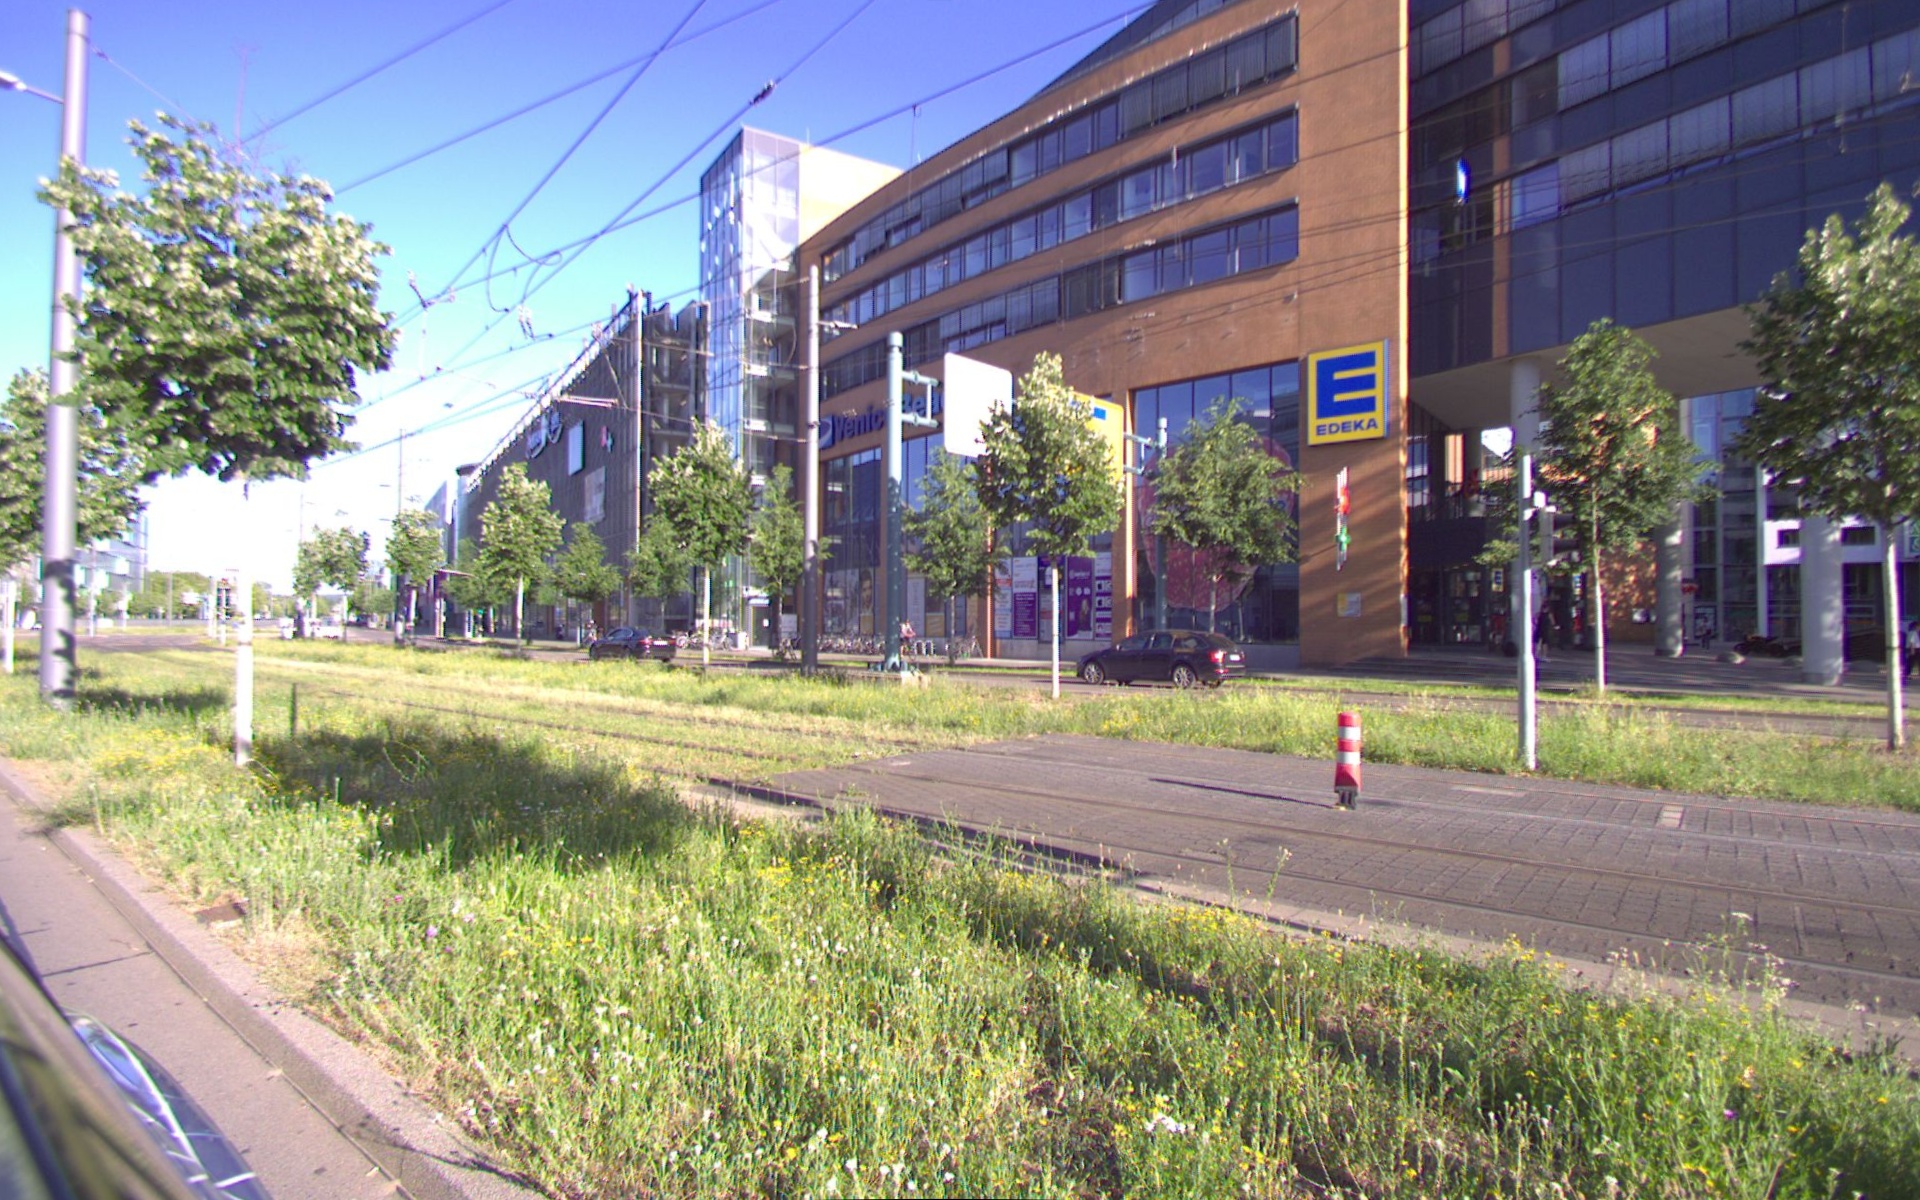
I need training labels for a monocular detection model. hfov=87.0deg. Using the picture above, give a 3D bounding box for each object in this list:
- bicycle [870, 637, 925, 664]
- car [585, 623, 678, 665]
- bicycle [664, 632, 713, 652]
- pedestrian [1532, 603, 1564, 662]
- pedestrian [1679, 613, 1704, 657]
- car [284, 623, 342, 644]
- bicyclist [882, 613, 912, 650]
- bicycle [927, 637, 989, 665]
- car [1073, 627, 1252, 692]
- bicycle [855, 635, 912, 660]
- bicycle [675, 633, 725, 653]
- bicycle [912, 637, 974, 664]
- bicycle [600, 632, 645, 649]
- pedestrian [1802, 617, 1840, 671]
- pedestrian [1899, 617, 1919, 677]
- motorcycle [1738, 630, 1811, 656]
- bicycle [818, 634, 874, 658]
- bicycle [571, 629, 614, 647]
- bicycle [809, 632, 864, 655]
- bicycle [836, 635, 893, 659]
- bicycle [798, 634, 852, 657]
[{"bbox_3d":[-2.658,2.115,42.615,0.881,1.112,2.696,1,-3,-39],"label":"bicycle"},{"bbox_3d":[-12.812,1.689,39.365,4.357,1.539,1.603,-2,-3,45],"label":"car"},{"bbox_3d":[-15.831,2.457,59.120,2.648,1.112,0.897,1,-3,-39],"label":"bicycle"},{"bbox_3d":[17.570,0.974,30.232,0.698,1.718,0.724,-1,-2,40],"label":"pedestrian"},{"bbox_3d":[27.716,1.312,38.331,0.698,1.635,0.724,-1,-2,40],"label":"pedestrian"},{"bbox_3d":[-47.851,2.470,74.834,4.336,1.539,1.662,-1,-3,29],"label":"car"},{"bbox_3d":[-2.663,1.327,42.655,0.881,1.560,0.941,1,-3,-39],"label":"bicyclist"},{"bbox_3d":[-0.072,2.128,42.605,2.648,1.112,0.897,1,-3,-39],"label":"bicycle"},{"bbox_3d":[5.153,1.492,26.153,4.354,1.539,1.605,-1,-3,42],"label":"car"},{"bbox_3d":[-3.552,2.203,47.170,2.648,1.112,0.897,1,-3,-39],"label":"bicycle"},{"bbox_3d":[-14.751,2.443,57.494,2.648,1.112,0.897,1,-3,-39],"label":"bicycle"},{"bbox_3d":[-0.725,2.162,43.424,2.648,1.112,0.897,1,-3,-39],"label":"bicycle"},{"bbox_3d":[-22.023,2.634,66.081,2.648,1.112,0.897,1,-3,-39],"label":"bicycle"},{"bbox_3d":[26.723,1.356,31.417,0.688,1.635,0.735,1,-2,-37],"label":"pedestrian"},{"bbox_3d":[27.425,1.334,28.860,0.705,1.693,0.832,2,-4,-42],"label":"pedestrian"},{"bbox_3d":[35.694,1.864,44.379,0.819,1.066,2.347,1,-2,-40],"label":"motorcycle"},{"bbox_3d":[-5.554,2.229,49.413,2.648,1.112,0.897,1,-3,-39],"label":"bicycle"},{"bbox_3d":[-25.575,2.636,70.506,2.648,1.198,0.897,1,-3,-39],"label":"bicycle"},{"bbox_3d":[-6.157,2.184,50.602,2.648,1.112,0.897,1,-3,-39],"label":"bicycle"},{"bbox_3d":[-4.522,2.216,48.096,2.648,1.112,0.897,1,-3,-39],"label":"bicycle"},{"bbox_3d":[-6.885,2.301,51.535,2.648,1.112,0.897,1,-3,-39],"label":"bicycle"}]
